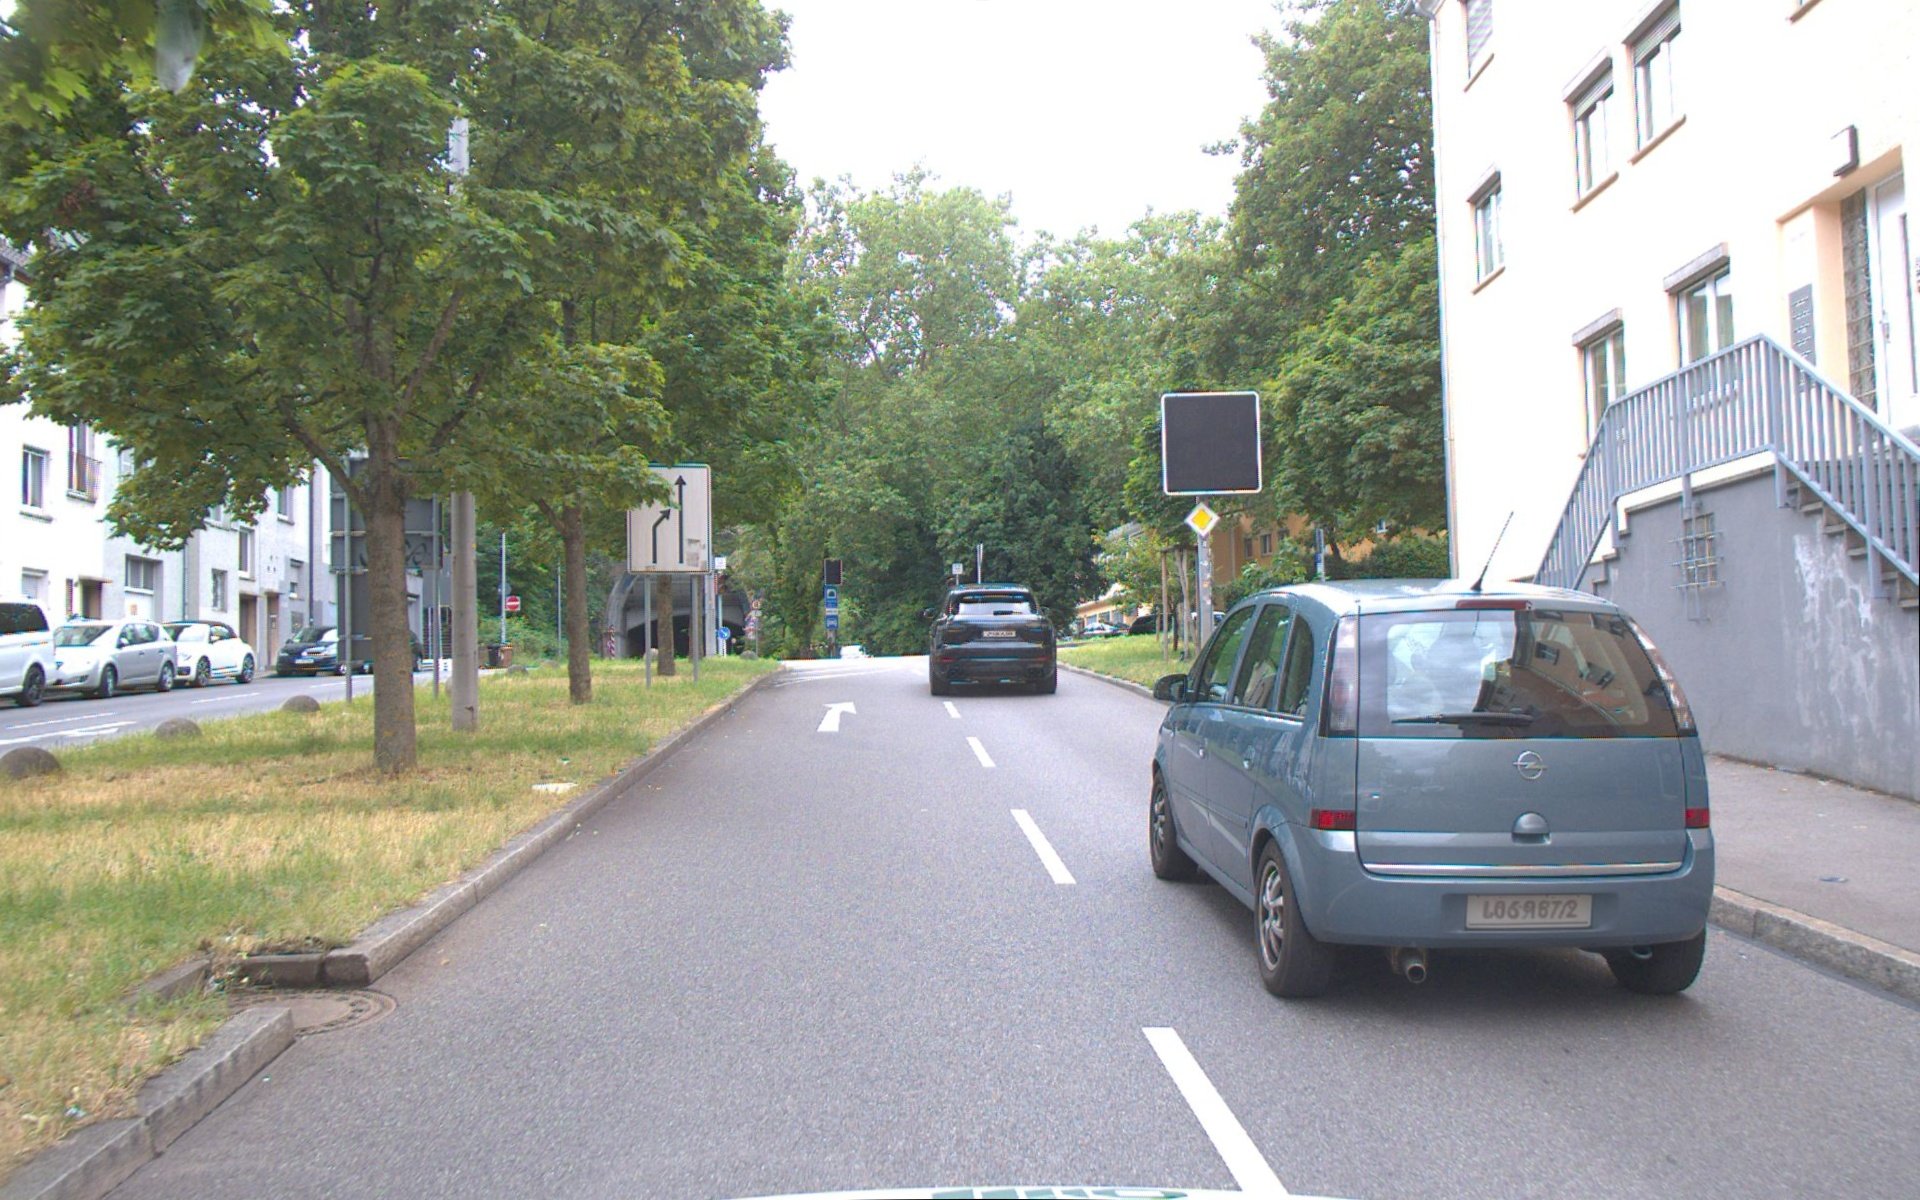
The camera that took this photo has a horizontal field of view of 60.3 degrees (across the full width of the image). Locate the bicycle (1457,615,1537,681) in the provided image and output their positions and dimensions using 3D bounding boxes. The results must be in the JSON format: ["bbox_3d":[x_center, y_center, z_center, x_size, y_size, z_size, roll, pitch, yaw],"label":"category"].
[{"bbox_3d":[6.756,0.592,20.876,0.478,0.786,1.558,-2,0,0],"label":"bicycle"}]

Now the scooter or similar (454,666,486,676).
[{"bbox_3d":[-17.892,2.603,60.380,1.106,0.293,1.093,-2,-3,-19],"label":"scooter or similar"}]

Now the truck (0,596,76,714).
[{"bbox_3d":[-16.860,0.936,27.275,1.954,1.953,5.342,-2,-1,-4],"label":"truck"}]

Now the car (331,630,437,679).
[{"bbox_3d":[-18.222,1.710,52.546,1.954,1.425,4.515,-2,-1,-3],"label":"car"}]

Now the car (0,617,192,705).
[{"bbox_3d":[-17.149,1.162,32.831,1.954,1.579,4.378,-2,-1,-4],"label":"car"}]

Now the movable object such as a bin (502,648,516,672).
[{"bbox_3d":[-18.889,2.523,69.299,0.508,0.984,0.442,2,-3,-18],"label":"movable object such as a bin"}]

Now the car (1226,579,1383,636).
[{"bbox_3d":[10.045,0.209,48.329,4.046,1.453,1.857,-3,0,-13],"label":"car"}]

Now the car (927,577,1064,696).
[{"bbox_3d":[0.489,0.582,26.537,1.953,1.682,3.998,-2,-1,-2],"label":"car"}]

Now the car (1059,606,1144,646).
[{"bbox_3d":[6.630,1.257,78.004,1.966,1.606,4.870,-2,-3,-22],"label":"car"}]

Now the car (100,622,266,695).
[{"bbox_3d":[-17.604,1.295,37.695,1.954,1.500,4.155,-2,-1,-3],"label":"car"}]

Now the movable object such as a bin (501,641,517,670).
[{"bbox_3d":[-19.012,2.353,69.767,0.595,1.207,0.489,2,-3,-18],"label":"movable object such as a bin"}]

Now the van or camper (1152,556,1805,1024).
[{"bbox_3d":[2.015,0.664,7.539,1.700,1.605,3.644,1,0,-2],"label":"van or camper"}]

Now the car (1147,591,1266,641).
[{"bbox_3d":[7.978,0.512,53.325,1.964,1.442,3.977,-3,-1,41],"label":"car"}]

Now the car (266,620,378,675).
[{"bbox_3d":[-18.127,1.367,47.190,1.955,1.448,4.205,-2,-2,-7],"label":"car"}]
